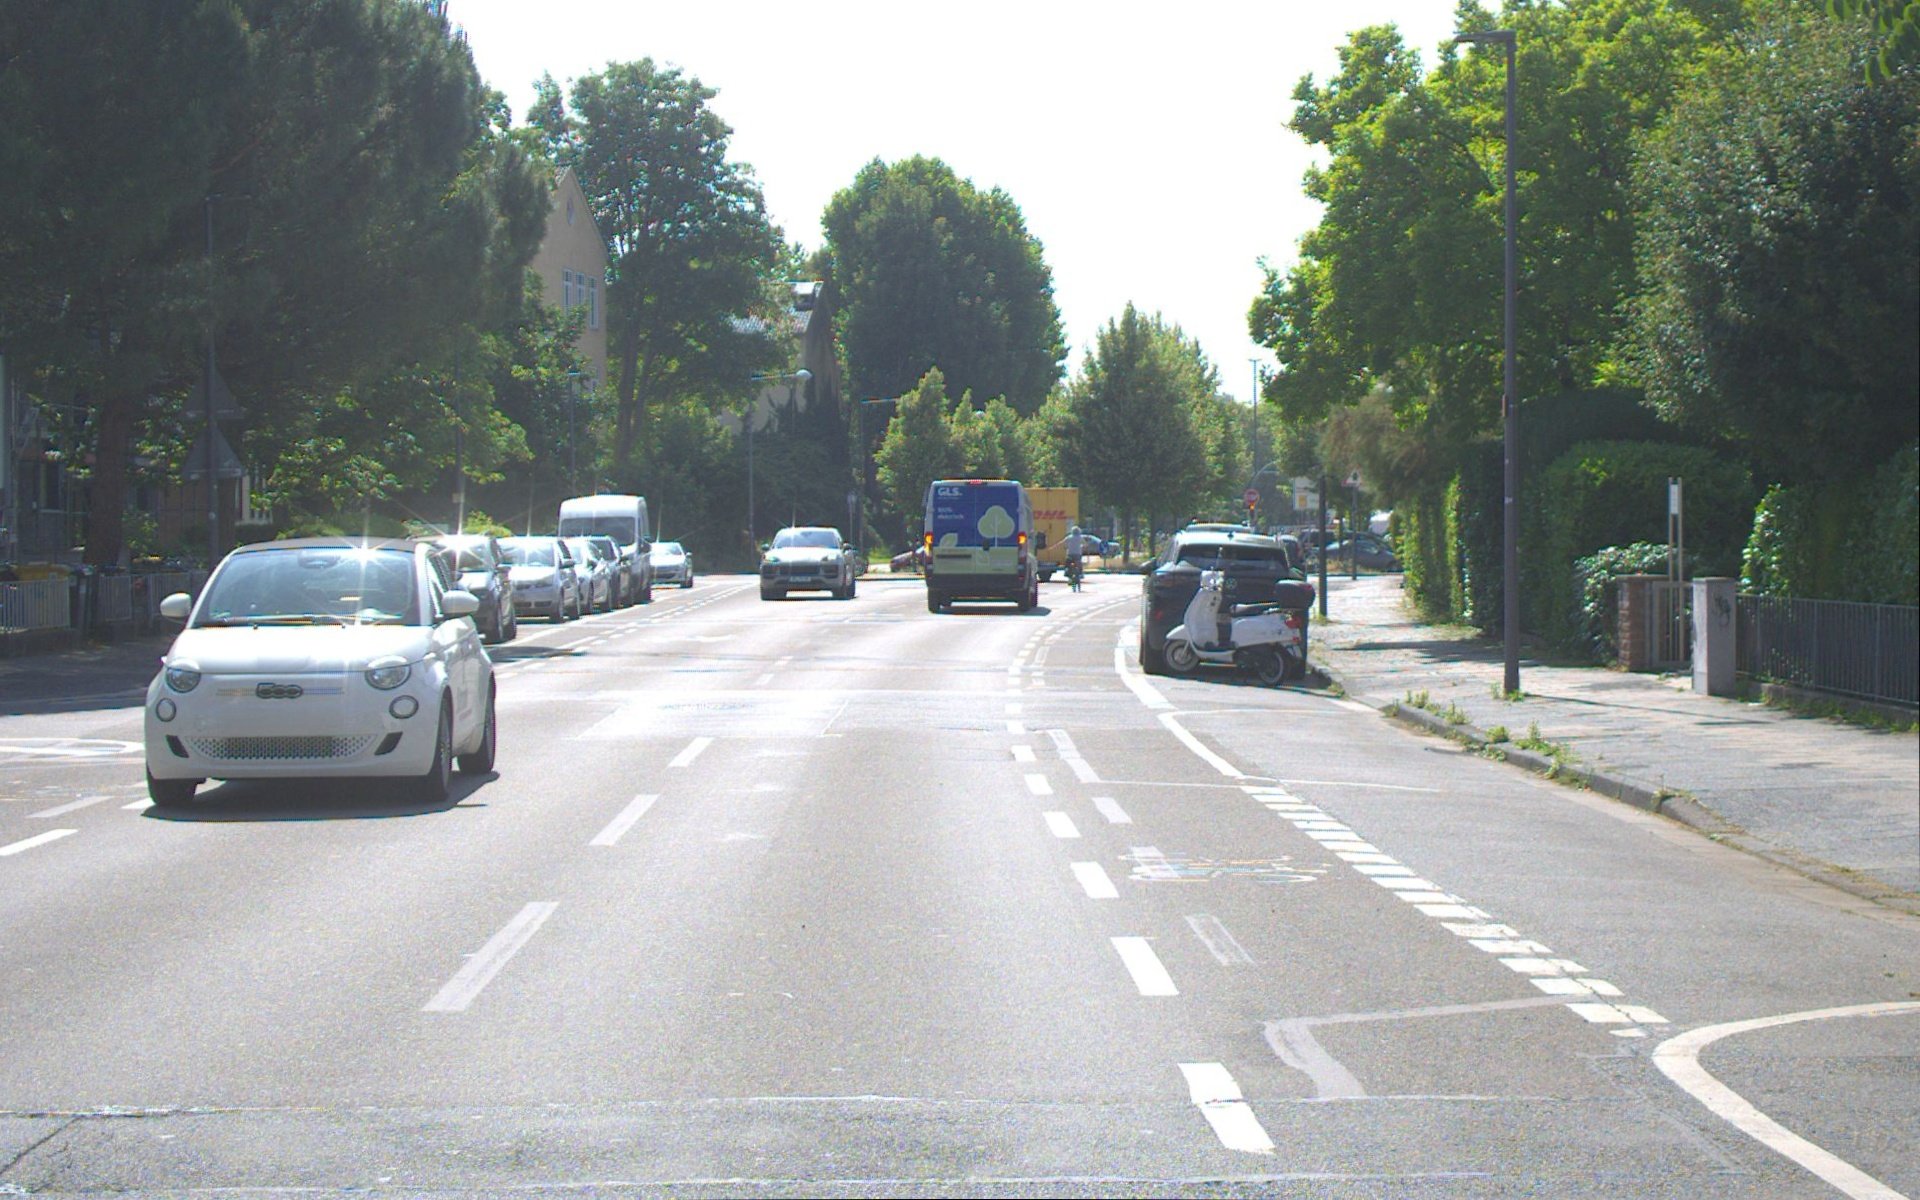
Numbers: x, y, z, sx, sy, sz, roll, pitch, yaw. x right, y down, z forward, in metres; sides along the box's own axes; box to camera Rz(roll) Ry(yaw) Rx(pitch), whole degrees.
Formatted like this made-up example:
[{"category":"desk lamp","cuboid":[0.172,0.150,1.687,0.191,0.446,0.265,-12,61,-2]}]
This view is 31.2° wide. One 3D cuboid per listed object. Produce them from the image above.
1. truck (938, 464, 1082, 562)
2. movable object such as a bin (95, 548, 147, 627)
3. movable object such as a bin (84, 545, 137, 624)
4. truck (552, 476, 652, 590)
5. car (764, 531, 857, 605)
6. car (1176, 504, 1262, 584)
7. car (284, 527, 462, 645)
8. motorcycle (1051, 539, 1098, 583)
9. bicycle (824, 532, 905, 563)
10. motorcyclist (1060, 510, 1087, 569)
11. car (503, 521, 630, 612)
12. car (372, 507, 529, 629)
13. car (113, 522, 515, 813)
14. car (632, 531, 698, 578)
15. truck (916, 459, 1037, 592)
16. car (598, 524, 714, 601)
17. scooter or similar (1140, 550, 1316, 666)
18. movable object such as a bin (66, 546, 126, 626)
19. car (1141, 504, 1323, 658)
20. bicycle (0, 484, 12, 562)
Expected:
[{"category":"truck","cuboid":[1.511,-2.671,106.485,2.214,2.936,5.687,-1,1,-24]},{"category":"movable object such as a bin","cuboid":[-11.934,-0.185,48.898,0.544,1.107,0.585,-1,1,5]},{"category":"movable object such as a bin","cuboid":[-12.004,-0.219,48.571,0.605,1.107,0.431,-1,1,5]},{"category":"truck","cuboid":[-8.321,-1.584,80.289,2.080,2.528,5.468,-1,2,-4]},{"category":"car","cuboid":[-3.516,-0.786,81.633,1.993,1.652,4.605,-1,1,0]},{"category":"car","cuboid":[5.580,-1.231,74.413,1.700,1.671,3.775,-1,1,2]},{"category":"car","cuboid":[-7.846,-0.220,46.262,1.780,1.455,4.087,-2,2,-2]},{"category":"motorcycle","cuboid":[2.946,-1.022,88.727,1.056,1.118,2.992,-1,1,-1]},{"category":"bicycle","cuboid":[-3.332,-1.839,119.488,2.687,1.044,1.026,-1,1,-9]},{"category":"motorcyclist","cuboid":[2.921,-1.568,88.687,0.672,1.513,0.652,-1,1,1]},{"category":"car","cuboid":[-7.156,-0.621,62.806,1.835,1.590,3.775,-1,1,1]},{"category":"car","cuboid":[-7.668,-0.522,52.084,1.908,1.671,4.260,-2,2,-3]},{"category":"car","cuboid":[-3.800,0.334,20.855,1.732,1.535,4.000,-2,1,-2]},{"category":"car","cuboid":[-8.727,-1.357,101.961,1.754,1.339,3.654,-1,2,-2]},{"category":"truck","cuboid":[0.370,-1.497,69.133,2.272,2.562,4.392,-1,1,2]},{"category":"car","cuboid":[-6.100,-0.775,69.302,1.835,1.491,3.654,-1,2,3]},{"category":"scooter or similar","cuboid":[2.886,0.081,37.157,1.796,1.150,0.718,4,2,44]},{"category":"movable object such as a bin","cuboid":[-12.056,-0.199,47.989,0.605,1.107,0.663,-1,1,5]},{"category":"car","cuboid":[3.204,-0.260,39.849,1.785,1.632,4.469,2,1,8]},{"category":"bicycle","cuboid":[-14.891,-1.170,52.346,0.537,1.178,1.446,-1,1,-2]}]
